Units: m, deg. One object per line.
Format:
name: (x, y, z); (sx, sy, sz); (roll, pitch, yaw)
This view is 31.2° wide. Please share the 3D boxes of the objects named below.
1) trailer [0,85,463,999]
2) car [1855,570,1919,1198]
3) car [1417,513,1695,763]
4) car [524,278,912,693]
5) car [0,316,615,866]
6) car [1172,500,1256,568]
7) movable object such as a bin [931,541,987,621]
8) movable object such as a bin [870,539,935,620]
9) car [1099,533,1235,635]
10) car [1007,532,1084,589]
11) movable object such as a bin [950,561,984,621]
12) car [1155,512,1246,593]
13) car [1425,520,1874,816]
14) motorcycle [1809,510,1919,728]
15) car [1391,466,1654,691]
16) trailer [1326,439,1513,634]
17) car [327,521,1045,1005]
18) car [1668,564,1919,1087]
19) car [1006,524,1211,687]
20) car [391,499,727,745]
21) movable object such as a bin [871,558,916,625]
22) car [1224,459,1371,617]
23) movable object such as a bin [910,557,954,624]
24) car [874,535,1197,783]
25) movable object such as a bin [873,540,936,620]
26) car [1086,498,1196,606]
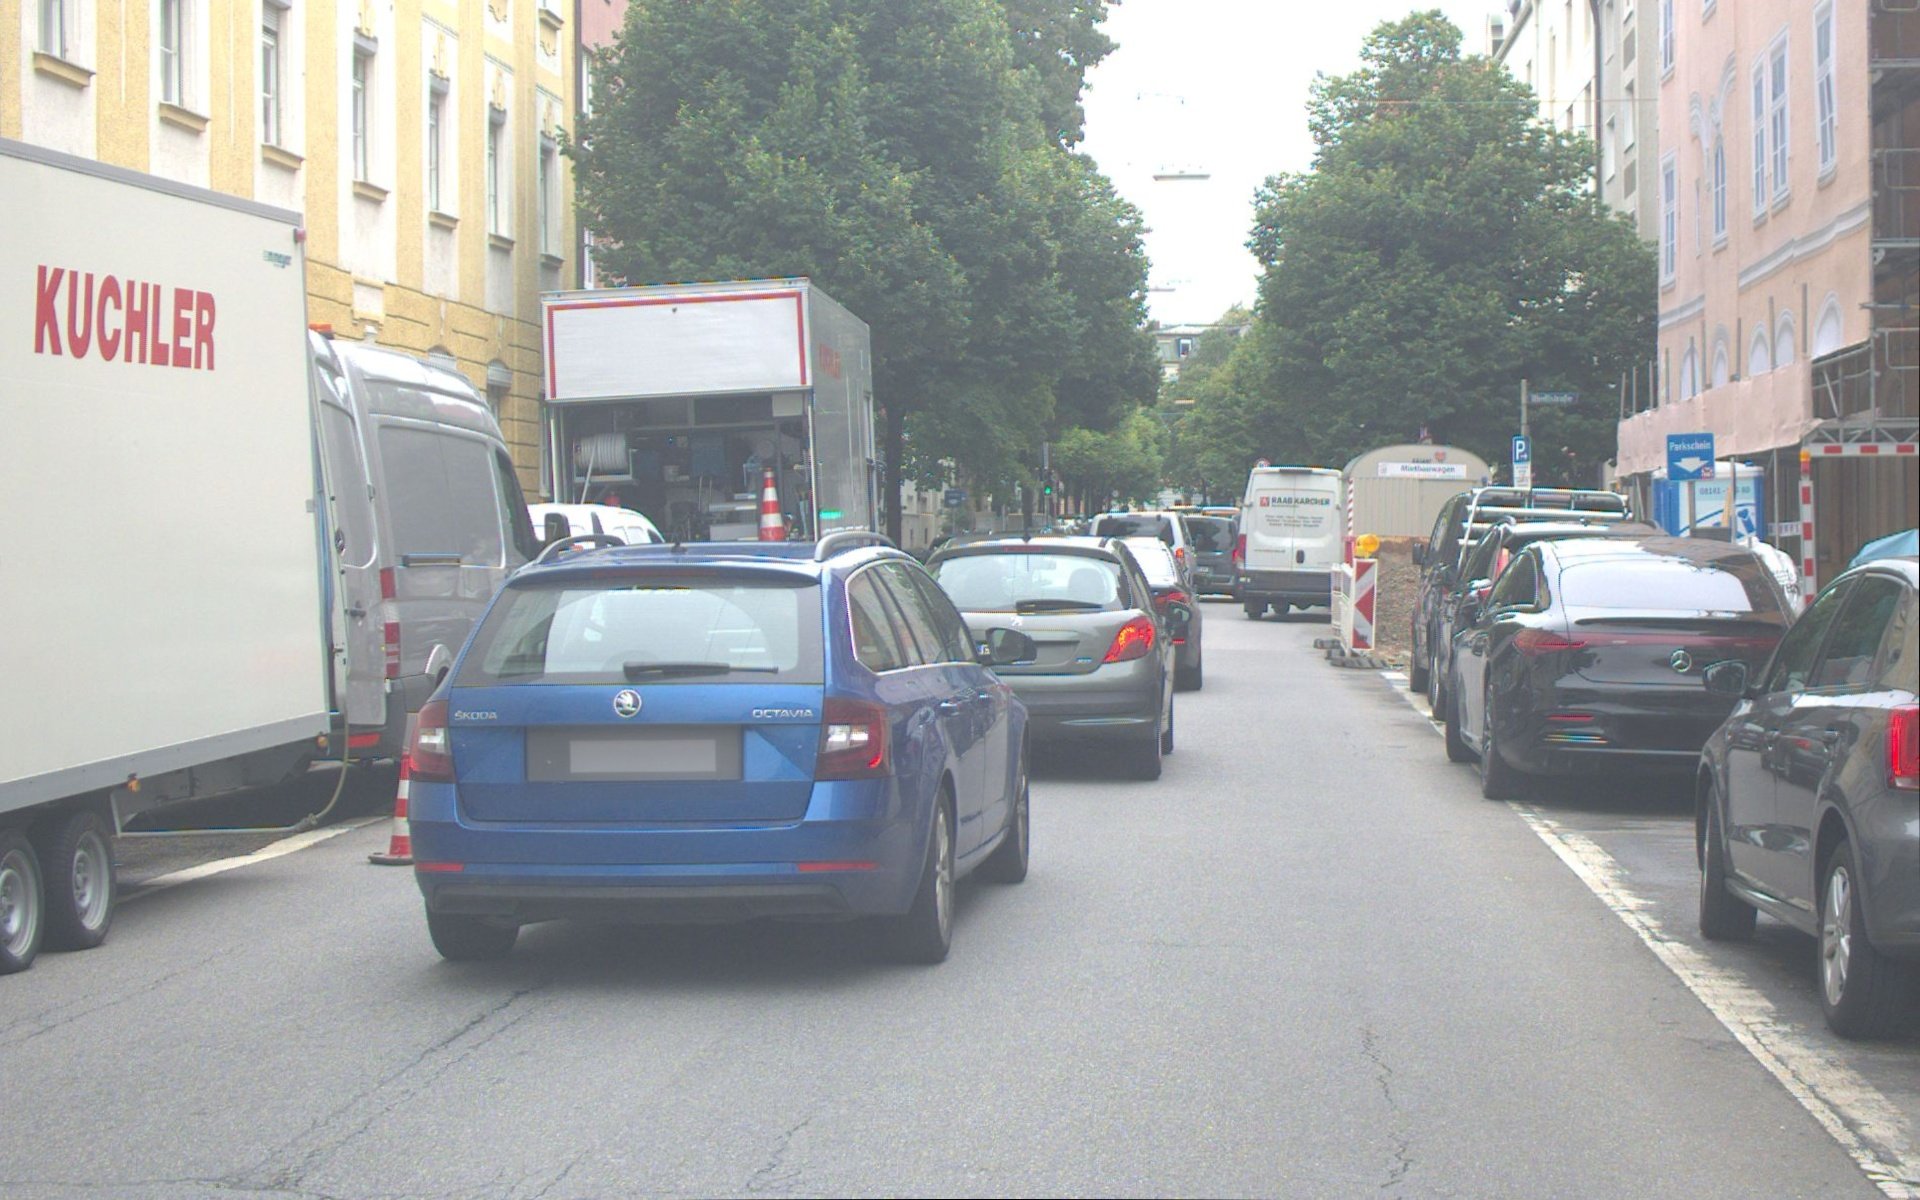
trailer: (-4.313, -0.187, 12.894); (2.804, 2.959, 7.598); (-3, 1, 7)
car: (2.944, 0.672, 6.068); (1.847, 1.400, 4.787); (0, 1, 5)
car: (4.480, 0.237, 26.366); (1.694, 1.671, 4.407); (3, 1, 6)
car: (-2.296, -1.115, 36.061); (2.813, 3.804, 8.722); (0, 1, 4)
car: (-3.747, -0.103, 20.375); (2.056, 2.578, 6.876); (-4, 1, 4)
car: (6.404, -1.682, 86.768); (2.008, 1.647, 4.347); (1, 2, 4)
movable object such as a bin: (-0.012, -0.338, 60.951); (0.918, 1.372, 1.080); (-2, 1, 1)
movable object such as a bin: (-1.012, -0.368, 60.949); (1.081, 1.372, 1.084); (-2, 1, 1)
car: (3.050, -0.270, 49.944); (1.868, 1.343, 4.347); (1, 2, 5)
car: (2.289, -1.068, 91.448); (1.812, 1.473, 4.000); (1, 1, 5)
movable object such as a bin: (0.129, -0.152, 60.086); (0.546, 1.017, 0.636); (-2, 1, 1)
car: (5.192, -1.044, 74.045); (1.868, 1.647, 4.347); (1, 2, 5)
car: (4.028, 0.300, 21.024); (1.931, 1.547, 5.636); (1, 1, 4)
motorcycle: (6.661, 0.111, 24.607); (0.872, 1.499, 1.997); (0, 1, 6)
car: (5.194, -0.129, 32.364); (2.083, 1.914, 5.139); (1, -1, 6)
trailer: (7.185, -0.983, 54.429); (2.502, 2.830, 6.900); (1, 1, 5)
car: (-0.789, 0.458, 12.573); (1.789, 1.455, 4.313); (0, 1, 7)
car: (3.416, 0.582, 11.262); (1.572, 1.389, 4.182); (-1, 1, 4)
car: (1.512, 0.002, 34.024); (1.867, 1.449, 4.347); (1, 2, 4)
car: (-3.141, 0.129, 27.776); (1.763, 1.773, 4.326); (-2, 1, 6)
movable object such as a bin: (-1.162, -0.147, 60.075); (0.721, 1.134, 0.658); (-2, 1, 1)
car: (6.100, -1.092, 61.637); (2.113, 2.654, 5.497); (1, 1, 10)
movable object such as a bin: (-0.492, -0.171, 60.075); (0.711, 1.144, 0.636); (-2, 1, 1)
car: (0.558, 0.313, 21.694); (1.741, 1.417, 3.663); (1, 1, 6)
movable object such as a bin: (-0.998, -0.366, 62.052); (1.057, 1.372, 1.095); (-2, 1, 1)
car: (3.356, -0.912, 63.165); (1.868, 1.863, 4.347); (1, 2, 5)
